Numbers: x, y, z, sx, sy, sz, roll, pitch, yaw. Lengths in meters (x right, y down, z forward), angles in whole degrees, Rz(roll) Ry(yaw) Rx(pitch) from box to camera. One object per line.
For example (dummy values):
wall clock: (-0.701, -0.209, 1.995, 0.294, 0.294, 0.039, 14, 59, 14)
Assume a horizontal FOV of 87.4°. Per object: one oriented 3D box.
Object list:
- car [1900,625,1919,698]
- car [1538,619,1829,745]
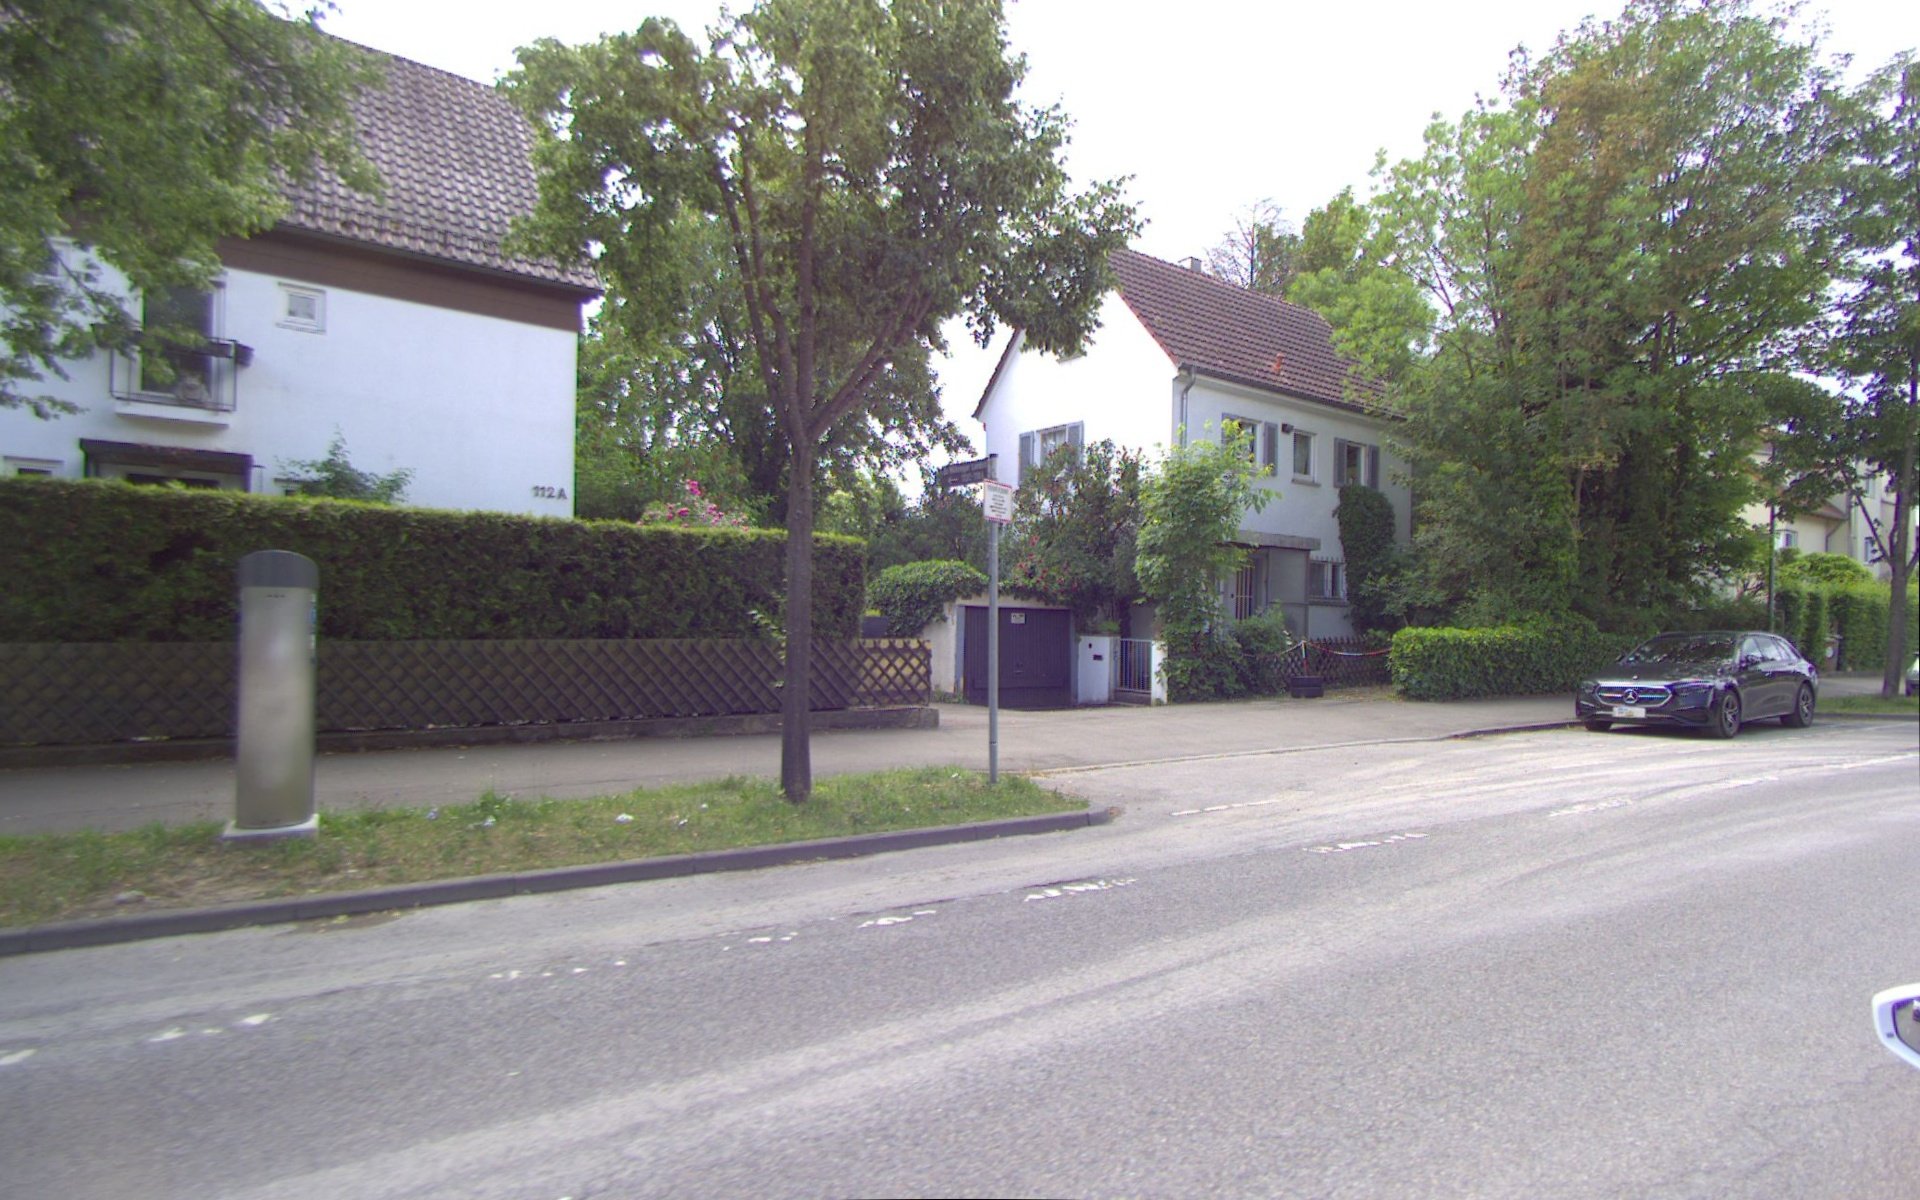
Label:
car: (23.443, 1.424, 23.154, 3.867, 1.634, 1.709, 1, -2, -33)
car: (11.324, 1.150, 15.616, 4.986, 1.669, 2.082, 1, -2, -34)
